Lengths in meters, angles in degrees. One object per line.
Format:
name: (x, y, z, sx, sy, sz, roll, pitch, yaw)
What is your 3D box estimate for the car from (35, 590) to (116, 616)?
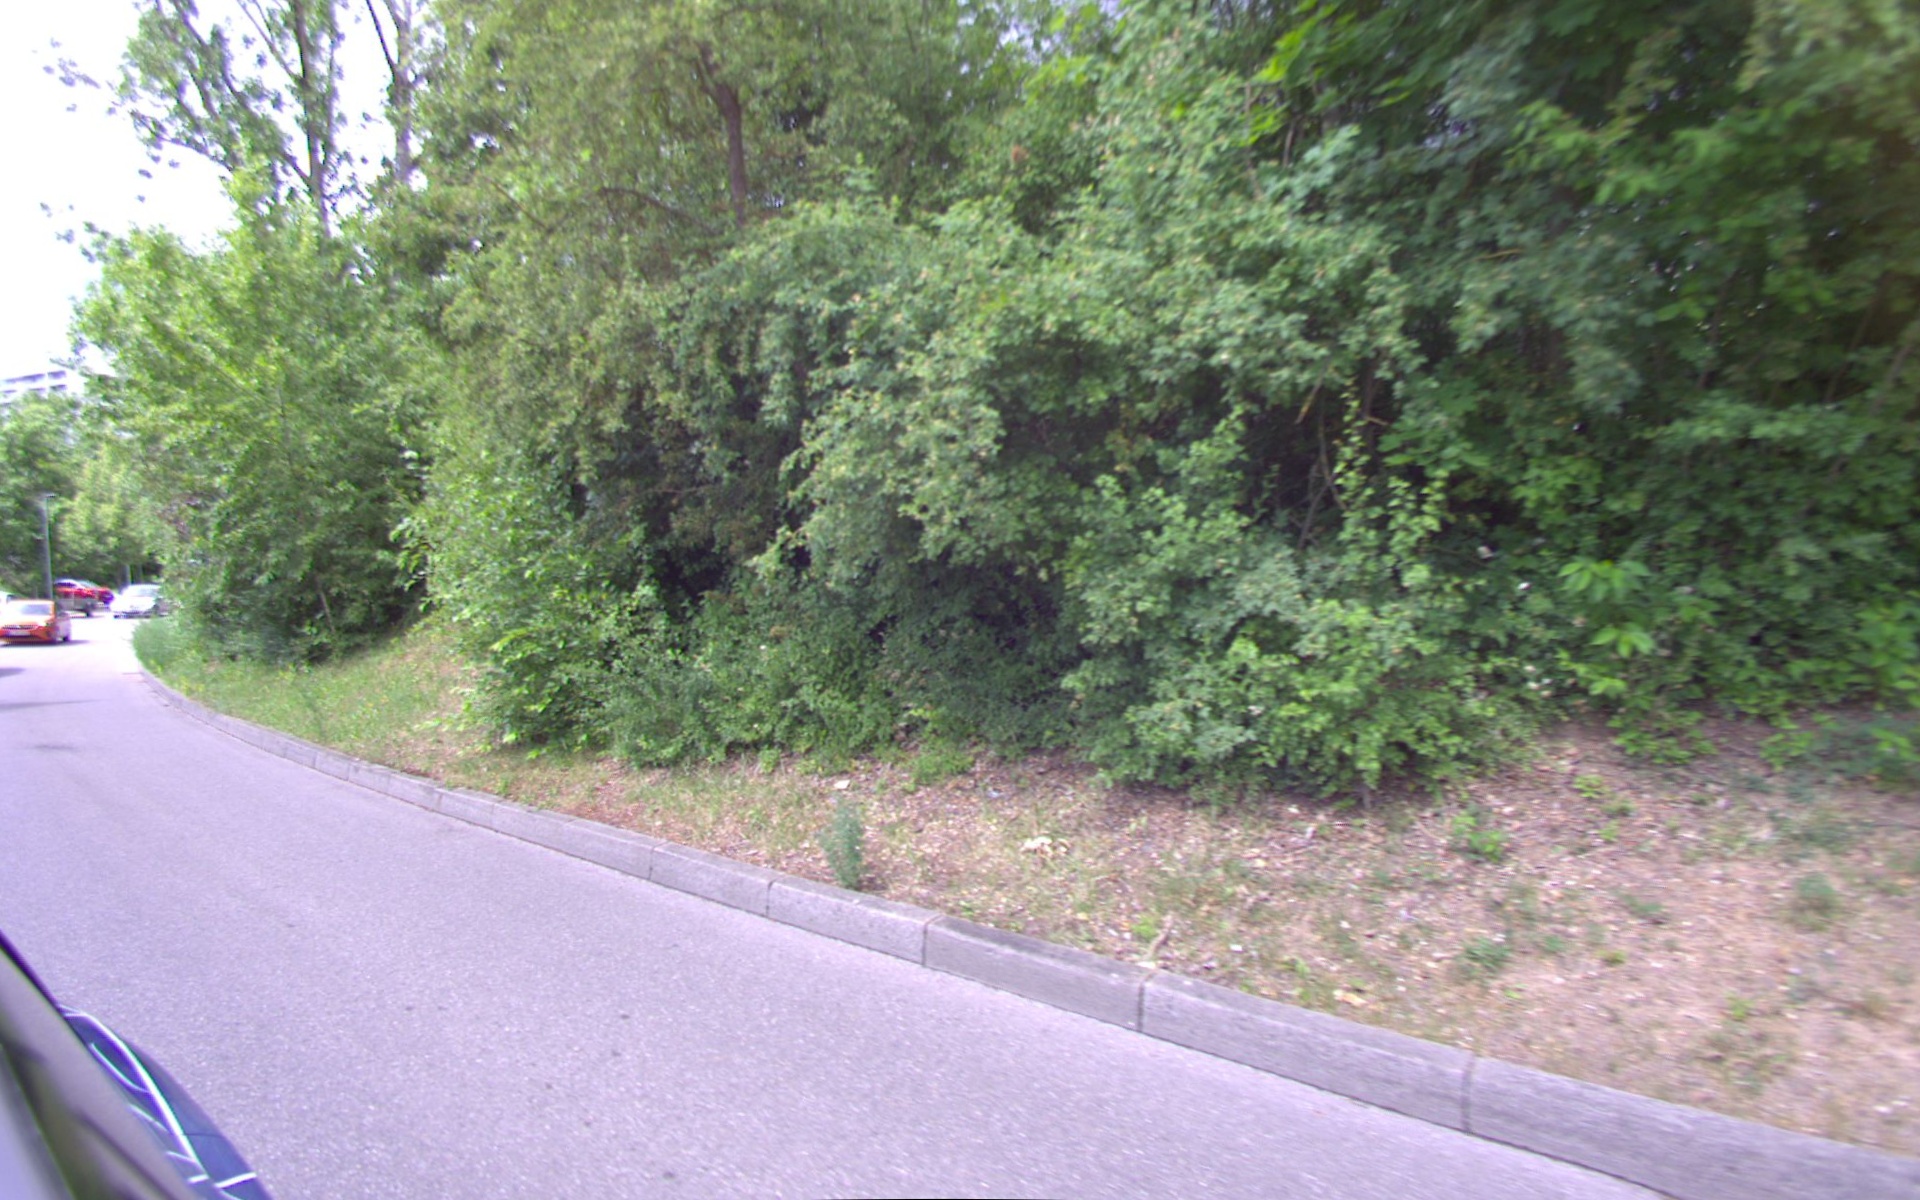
car: (-54.396, 0.176, 62.289, 3.434, 1.528, 1.654, 0, 3, -6)

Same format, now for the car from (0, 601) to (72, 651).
car: (-31.064, 0.839, 33.696, 1.767, 1.423, 4.124, 2, 0, -35)

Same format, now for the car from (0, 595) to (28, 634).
car: (-39.185, 0.562, 40.707, 1.682, 1.488, 3.795, 0, 1, -29)

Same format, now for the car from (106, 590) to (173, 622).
car: (-41.657, 0.282, 51.490, 1.766, 1.520, 4.127, -1, 1, -26)

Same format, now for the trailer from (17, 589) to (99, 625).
trailer: (-43.616, 0.291, 49.046, 1.784, 1.590, 4.505, 0, 2, -25)
